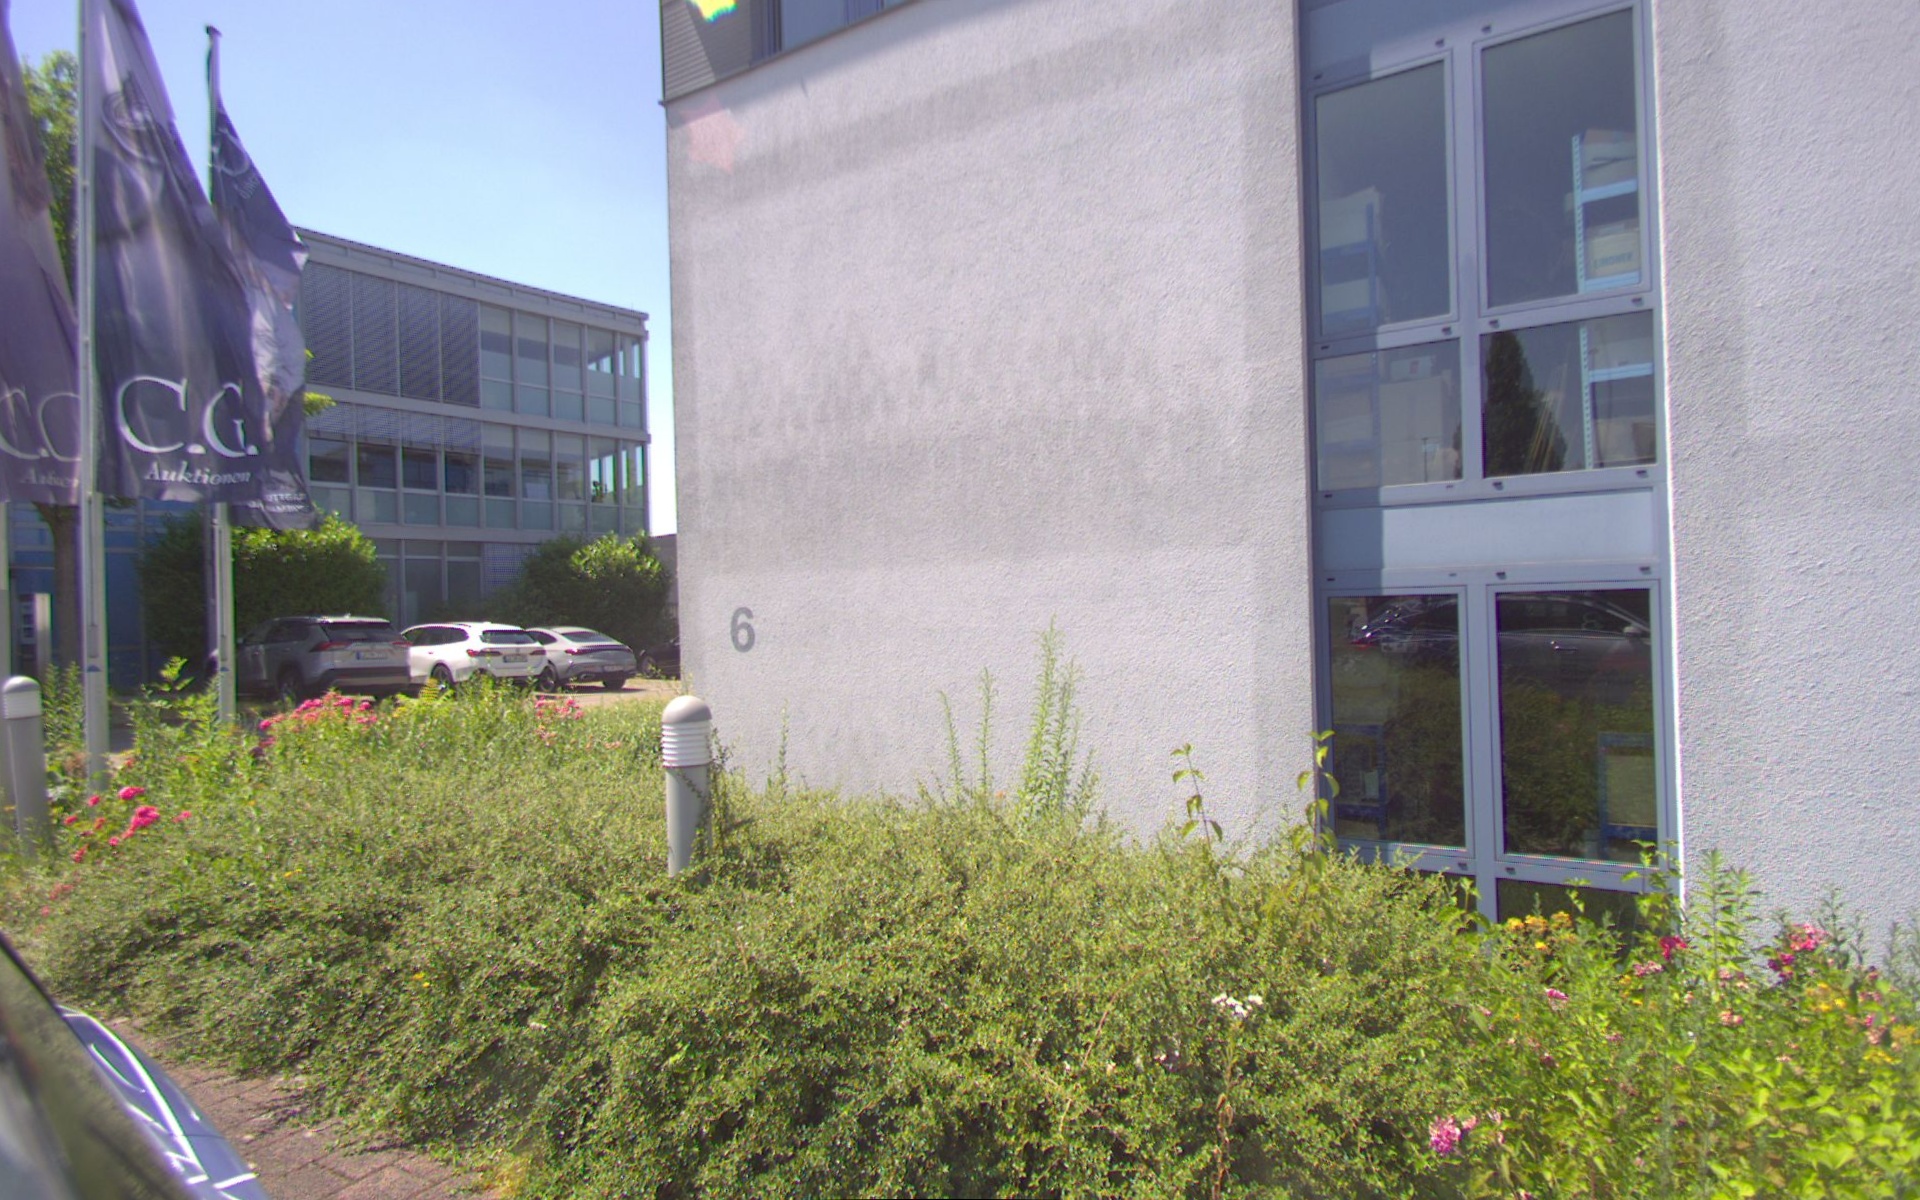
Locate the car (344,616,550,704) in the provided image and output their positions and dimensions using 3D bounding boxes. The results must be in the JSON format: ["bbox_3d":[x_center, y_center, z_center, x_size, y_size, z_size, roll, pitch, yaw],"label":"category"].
[{"bbox_3d":[-10.547,1.172,20.768,4.154,1.650,1.815,-1,-2,30],"label":"car"}]

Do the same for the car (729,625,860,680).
[{"bbox_3d":[-4.768,1.433,28.795,1.725,1.435,4.177,1,-1,-41],"label":"car"}]

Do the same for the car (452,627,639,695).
[{"bbox_3d":[-9.369,1.327,22.834,4.154,1.411,1.735,-1,-2,30],"label":"car"}]

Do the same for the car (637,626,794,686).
[{"bbox_3d":[-6.421,1.401,26.428,4.163,1.435,1.731,-1,-1,36],"label":"car"}]

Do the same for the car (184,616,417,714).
[{"bbox_3d":[-12.203,1.137,18.703,4.151,1.650,1.816,-1,-2,28],"label":"car"}]
